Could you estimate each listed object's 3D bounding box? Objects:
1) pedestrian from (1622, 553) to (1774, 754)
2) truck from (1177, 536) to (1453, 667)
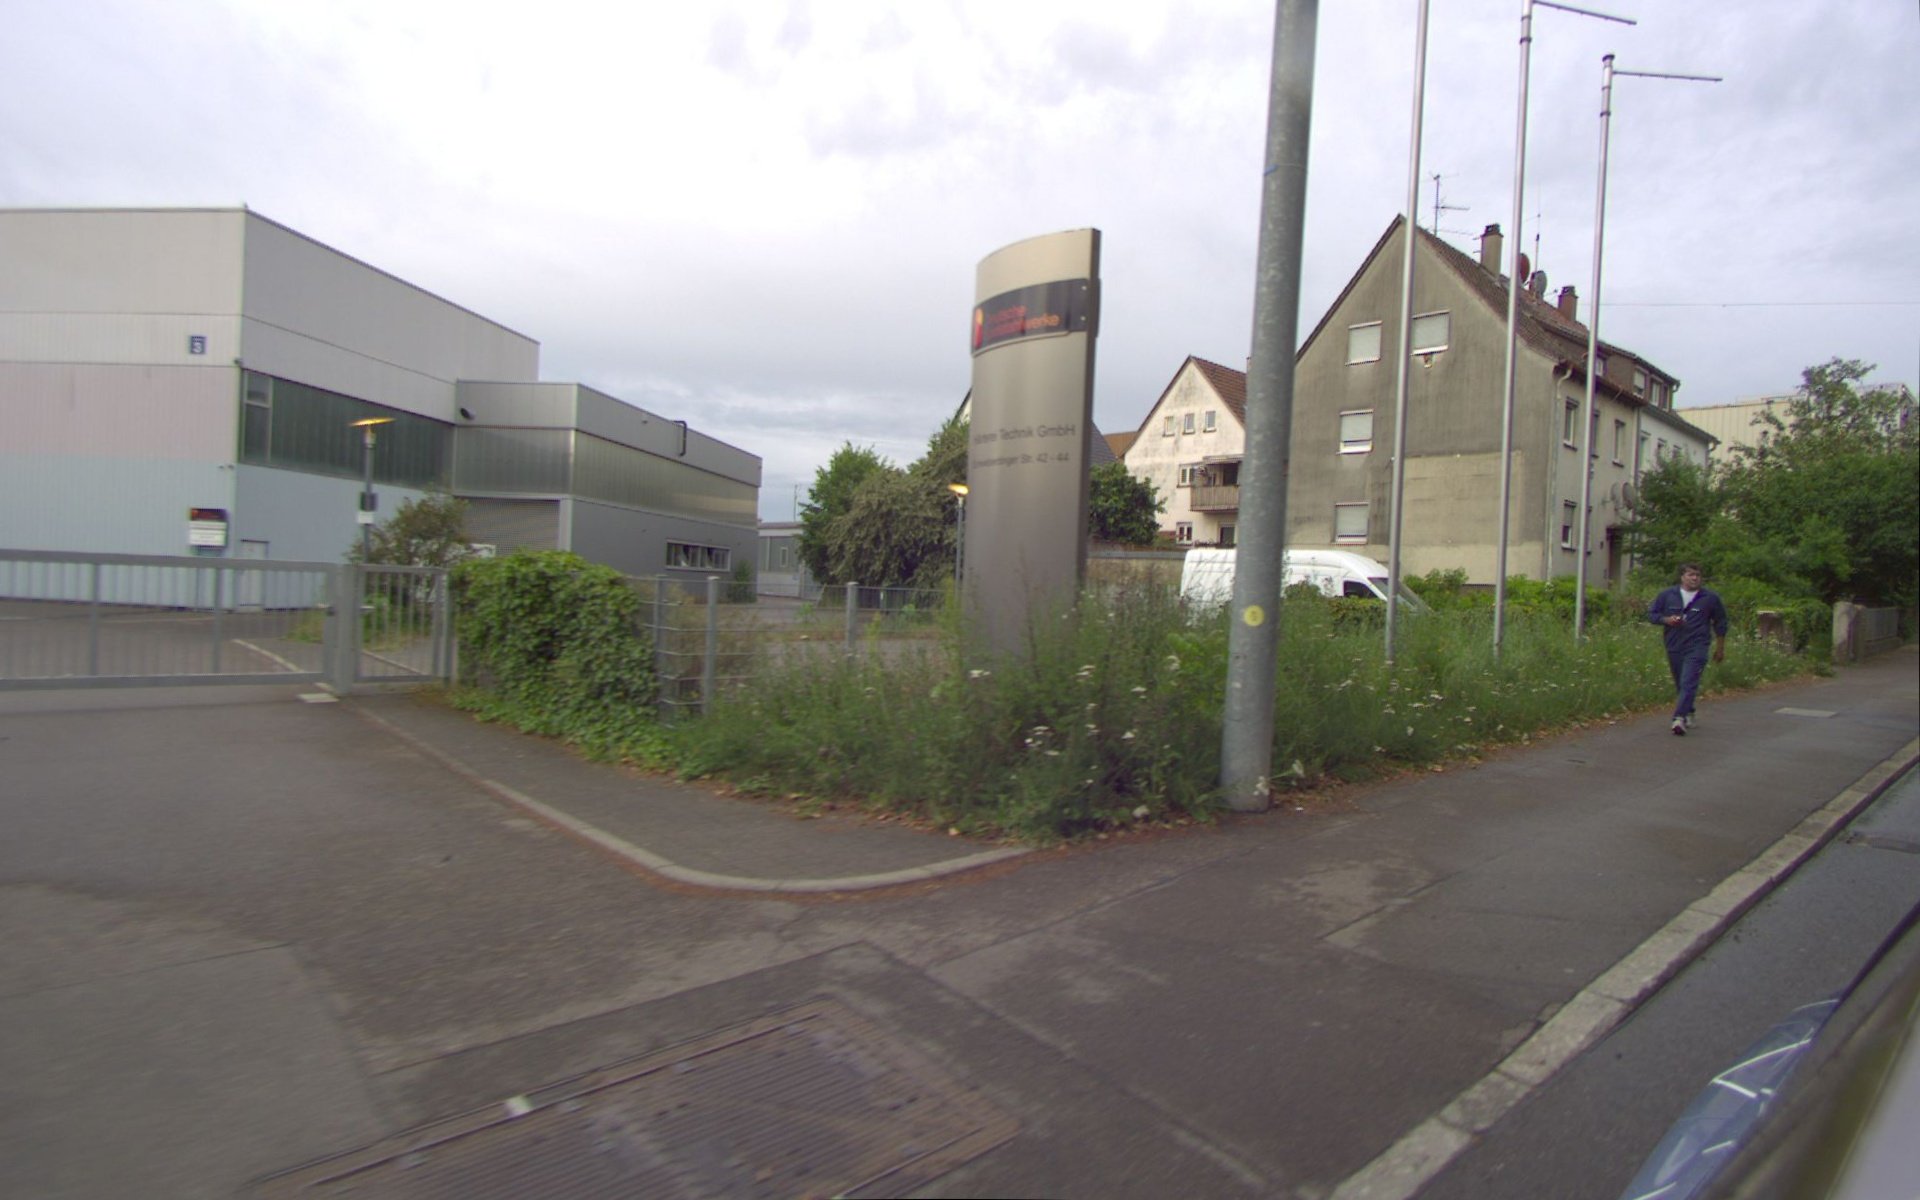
[{"bbox_3d":[7.541,0.484,10.354,0.885,1.920,1.045,-1,2,-40],"label":"pedestrian"},{"bbox_3d":[8.040,0.001,23.524,2.008,2.670,5.854,-1,1,-41],"label":"truck"}]
